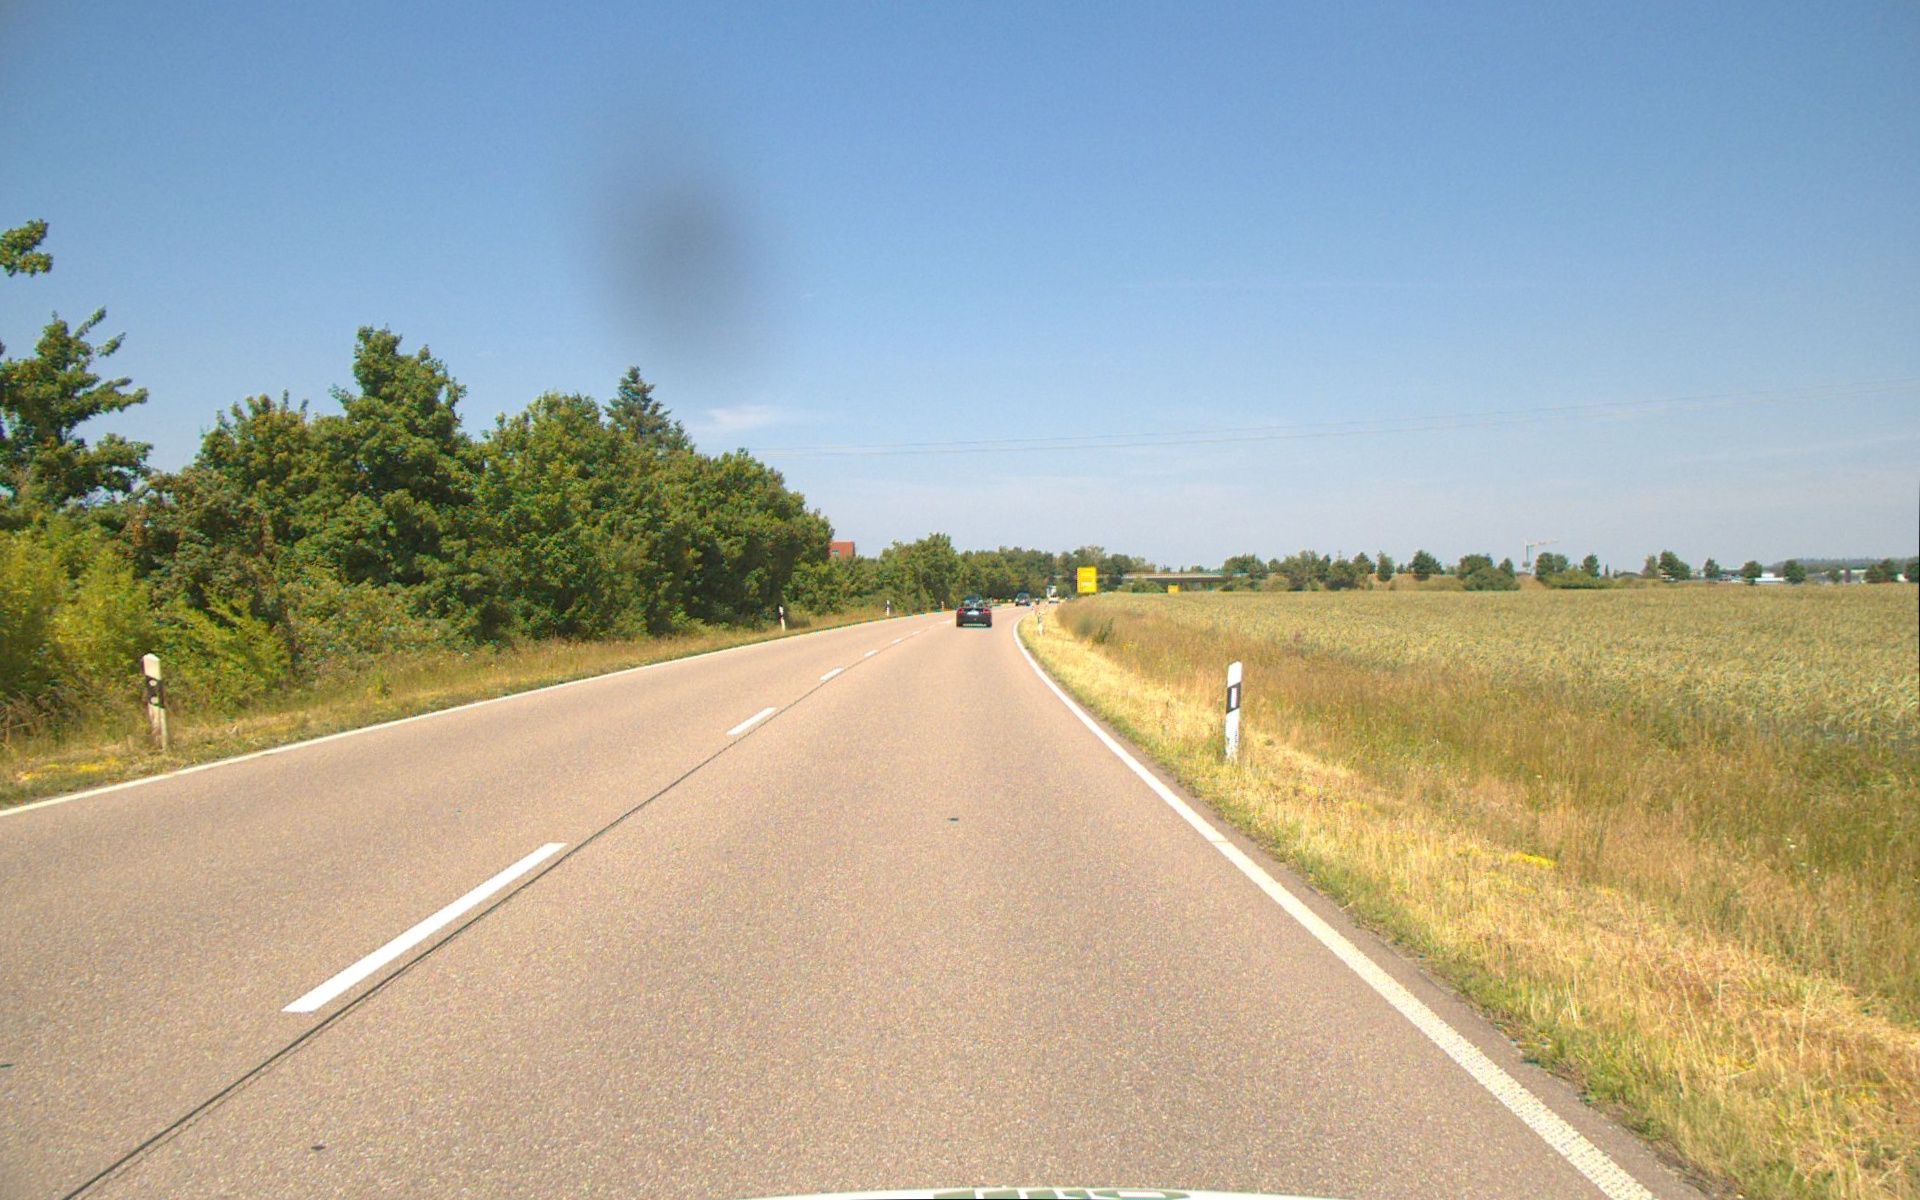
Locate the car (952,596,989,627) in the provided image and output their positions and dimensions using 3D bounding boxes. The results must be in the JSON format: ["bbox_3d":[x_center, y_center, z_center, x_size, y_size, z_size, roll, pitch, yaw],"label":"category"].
[{"bbox_3d":[0.547,0.564,82.074,1.777,1.466,4.000,1,0,1],"label":"car"}]

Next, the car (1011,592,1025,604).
[{"bbox_3d":[8.111,-0.315,230.753,1.780,1.731,5.003,0,0,3],"label":"car"}]

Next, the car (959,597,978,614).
[{"bbox_3d":[0.816,0.476,159.251,1.663,1.594,3.672,1,0,2],"label":"car"}]
